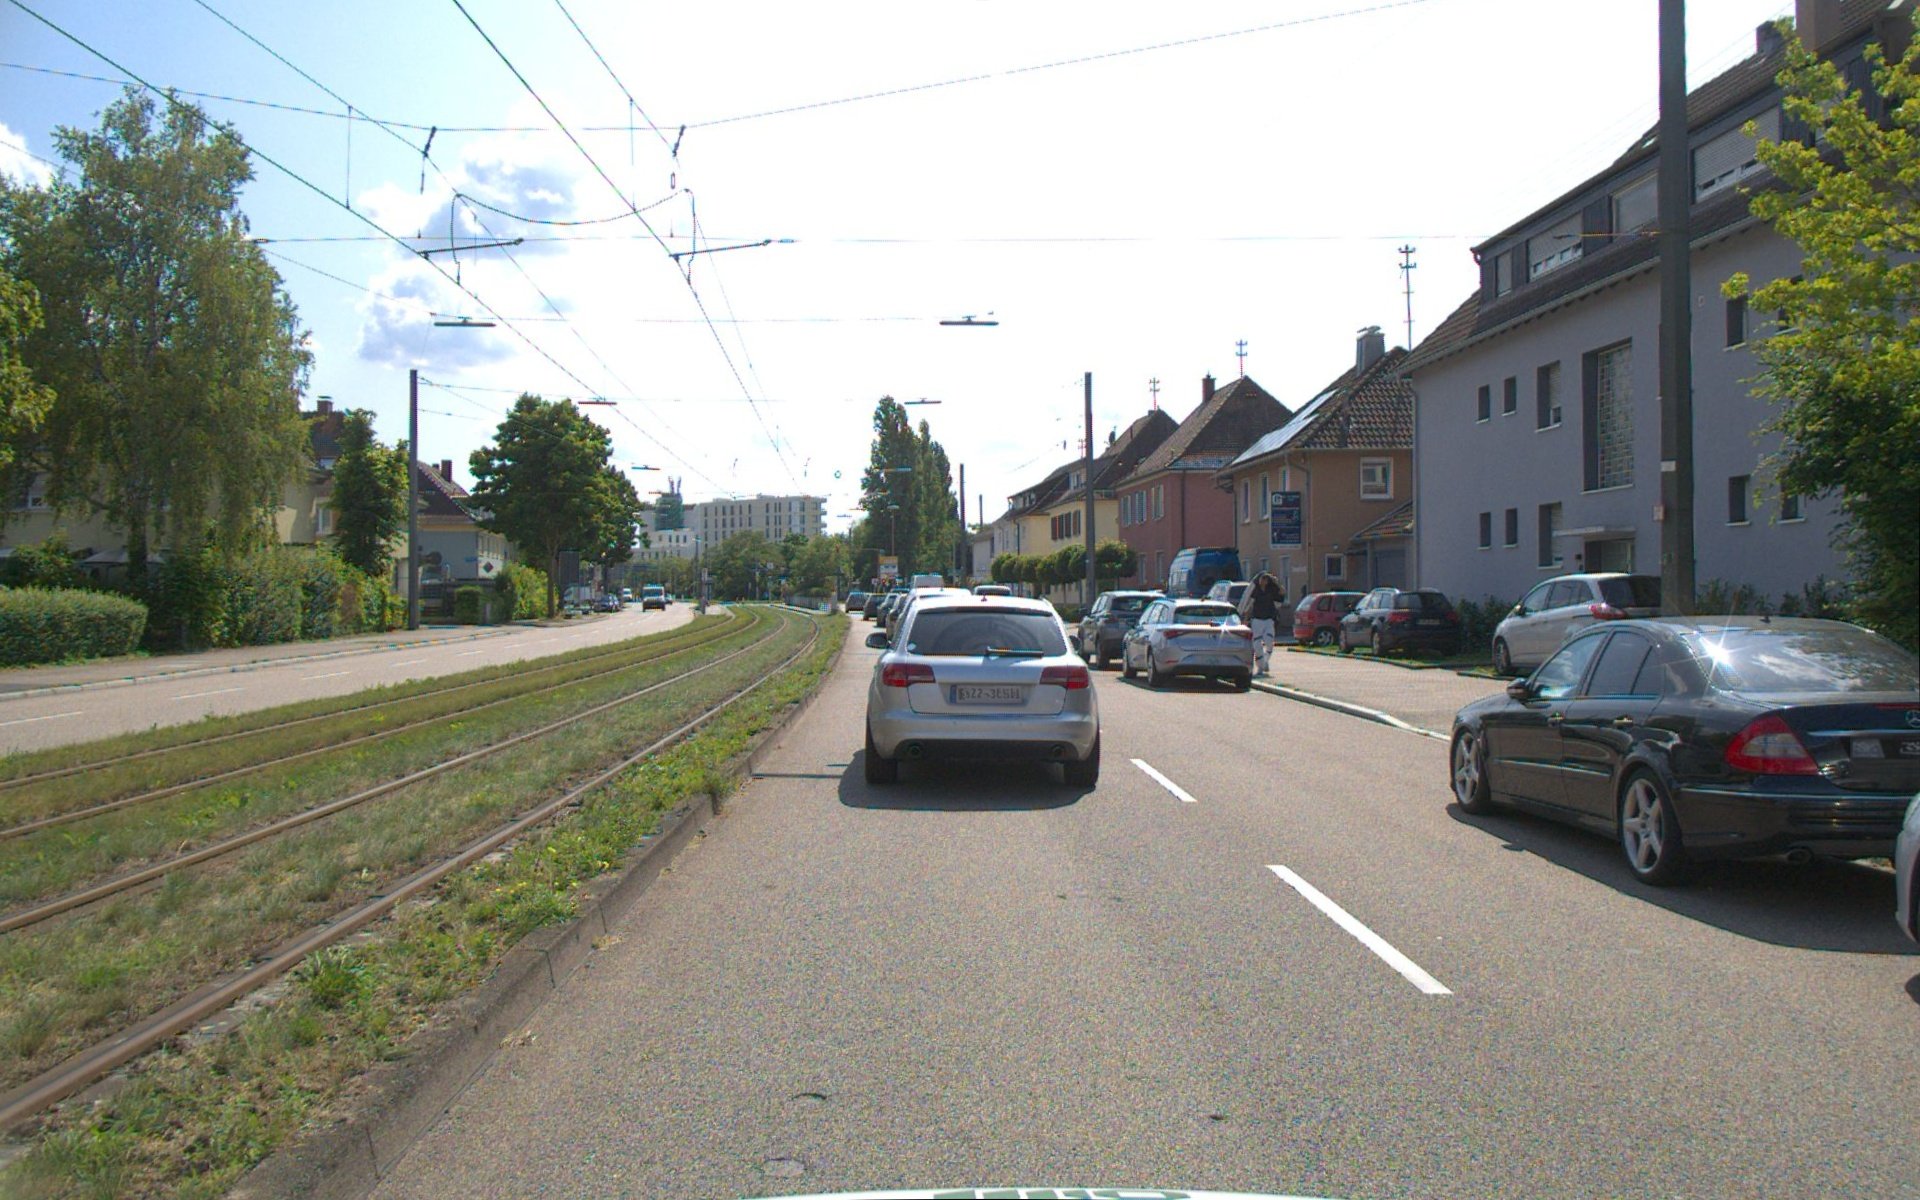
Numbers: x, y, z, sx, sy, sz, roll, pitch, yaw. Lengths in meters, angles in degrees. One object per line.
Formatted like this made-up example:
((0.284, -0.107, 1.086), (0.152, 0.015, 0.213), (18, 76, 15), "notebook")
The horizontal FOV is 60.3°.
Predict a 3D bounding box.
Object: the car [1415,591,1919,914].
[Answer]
((4.518, 0.709, 10.272), (1.861, 1.469, 5.056), (1, 1, -2), "car")

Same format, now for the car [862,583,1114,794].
((0.184, 0.636, 14.277), (1.817, 1.518, 4.535), (0, 0, -1), "car")

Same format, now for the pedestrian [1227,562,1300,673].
((5.595, 0.319, 30.563), (1.090, 1.980, 1.091), (-1, 0, -3), "pedestrian")

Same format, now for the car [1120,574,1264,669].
((3.941, 0.358, 28.754), (1.778, 1.479, 4.642), (1, 0, -1), "car")

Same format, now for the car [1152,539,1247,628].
((8.402, -0.542, 58.693), (2.109, 2.981, 6.240), (1, 0, -3), "car")

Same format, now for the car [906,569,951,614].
((-1.914, -0.500, 98.538), (2.003, 2.602, 5.220), (0, 0, -9), "car")

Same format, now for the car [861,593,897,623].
((-4.292, 0.418, 88.433), (1.847, 1.557, 4.092), (1, 0, -2), "car")

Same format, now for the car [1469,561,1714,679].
((9.945, 0.293, 26.497), (1.723, 1.676, 4.764), (-1, 0, -5), "car")

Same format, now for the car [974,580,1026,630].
((1.447, 0.156, 61.205), (1.846, 1.761, 4.095), (-1, 0, 1), "car")

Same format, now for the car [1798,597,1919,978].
((4.719, 0.737, 4.840), (1.852, 1.481, 5.004), (1, 0, -2), "car")

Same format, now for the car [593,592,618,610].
((-31.708, 0.068, 148.052), (1.752, 1.612, 3.925), (0, 0, -7), "car")

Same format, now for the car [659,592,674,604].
((-39.960, -0.279, 224.984), (1.863, 1.568, 3.717), (1, 0, -12), "car")

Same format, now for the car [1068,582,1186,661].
((3.536, 0.447, 35.730), (1.772, 1.587, 4.249), (1, 0, -5), "car")

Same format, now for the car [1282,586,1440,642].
((10.220, 0.363, 42.283), (3.578, 1.404, 1.725), (0, -1, -6), "car")

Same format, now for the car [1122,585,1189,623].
((7.708, 0.158, 65.553), (1.618, 1.434, 4.343), (-1, 0, -8), "car")

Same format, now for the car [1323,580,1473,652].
((9.545, 0.314, 36.449), (1.763, 1.448, 4.854), (-1, 0, -3), "car")

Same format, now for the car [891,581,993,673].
((-0.403, 0.475, 31.841), (1.751, 1.604, 4.092), (2, 0, -3), "car")

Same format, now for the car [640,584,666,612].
((-27.943, -0.138, 150.629), (2.158, 2.413, 5.316), (-2, 0, -12), "car")

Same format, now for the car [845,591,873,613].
((-7.240, 0.145, 118.707), (1.847, 1.557, 4.092), (1, 0, -2), "car")

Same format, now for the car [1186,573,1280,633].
((8.584, 0.071, 52.446), (1.800, 1.741, 4.860), (-2, 1, -4), "car")

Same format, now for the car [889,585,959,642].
((-1.019, 0.344, 45.846), (1.847, 1.491, 4.093), (-1, 0, -2), "car")
